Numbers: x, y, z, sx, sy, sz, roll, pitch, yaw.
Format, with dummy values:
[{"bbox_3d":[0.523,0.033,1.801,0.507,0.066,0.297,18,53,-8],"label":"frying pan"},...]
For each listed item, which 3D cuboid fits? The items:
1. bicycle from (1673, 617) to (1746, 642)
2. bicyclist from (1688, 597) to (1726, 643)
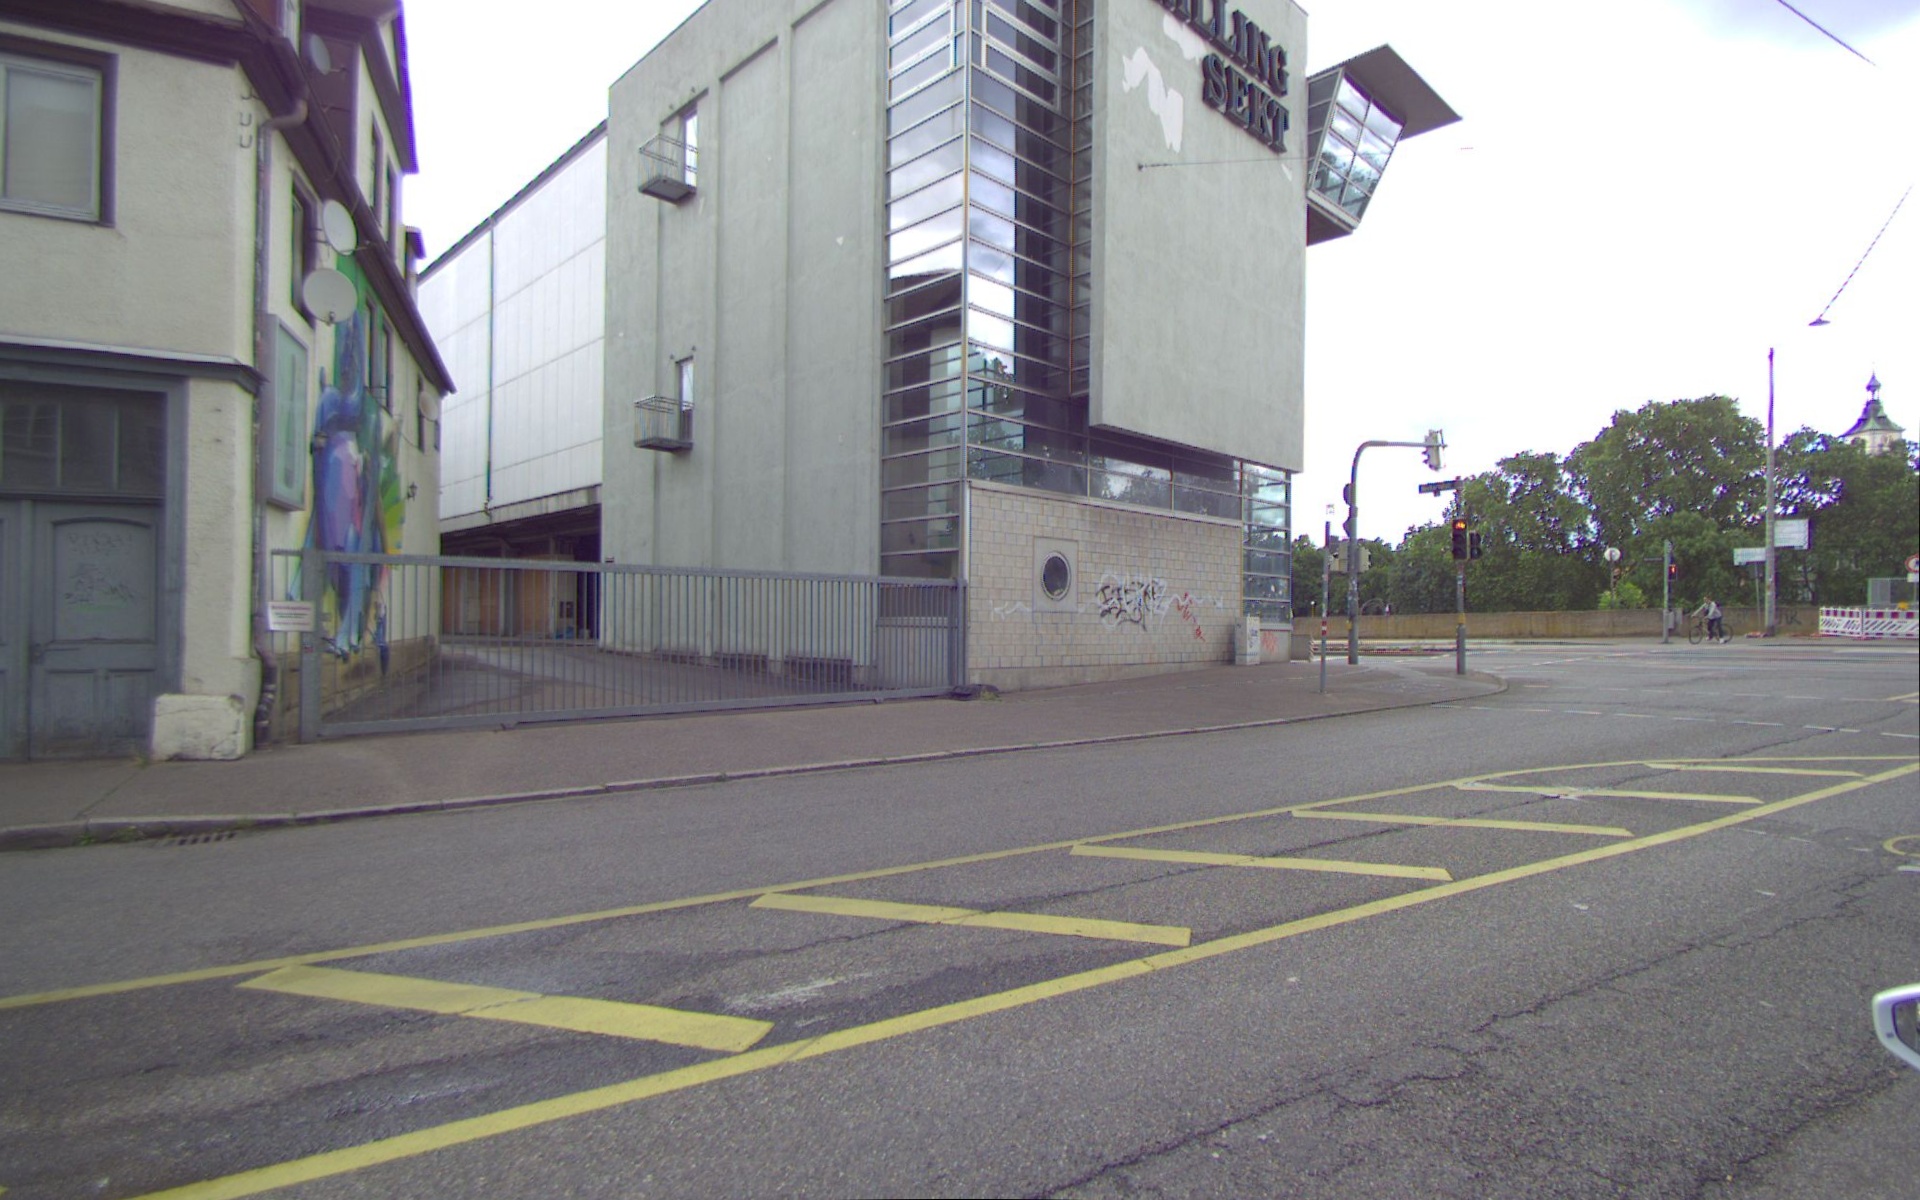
[{"bbox_3d":[28.872,1.137,38.734,2.095,0.904,0.760,-1,0,18],"label":"bicycle"},{"bbox_3d":[28.816,0.768,38.750,0.985,1.767,0.755,0,0,19],"label":"bicyclist"}]
